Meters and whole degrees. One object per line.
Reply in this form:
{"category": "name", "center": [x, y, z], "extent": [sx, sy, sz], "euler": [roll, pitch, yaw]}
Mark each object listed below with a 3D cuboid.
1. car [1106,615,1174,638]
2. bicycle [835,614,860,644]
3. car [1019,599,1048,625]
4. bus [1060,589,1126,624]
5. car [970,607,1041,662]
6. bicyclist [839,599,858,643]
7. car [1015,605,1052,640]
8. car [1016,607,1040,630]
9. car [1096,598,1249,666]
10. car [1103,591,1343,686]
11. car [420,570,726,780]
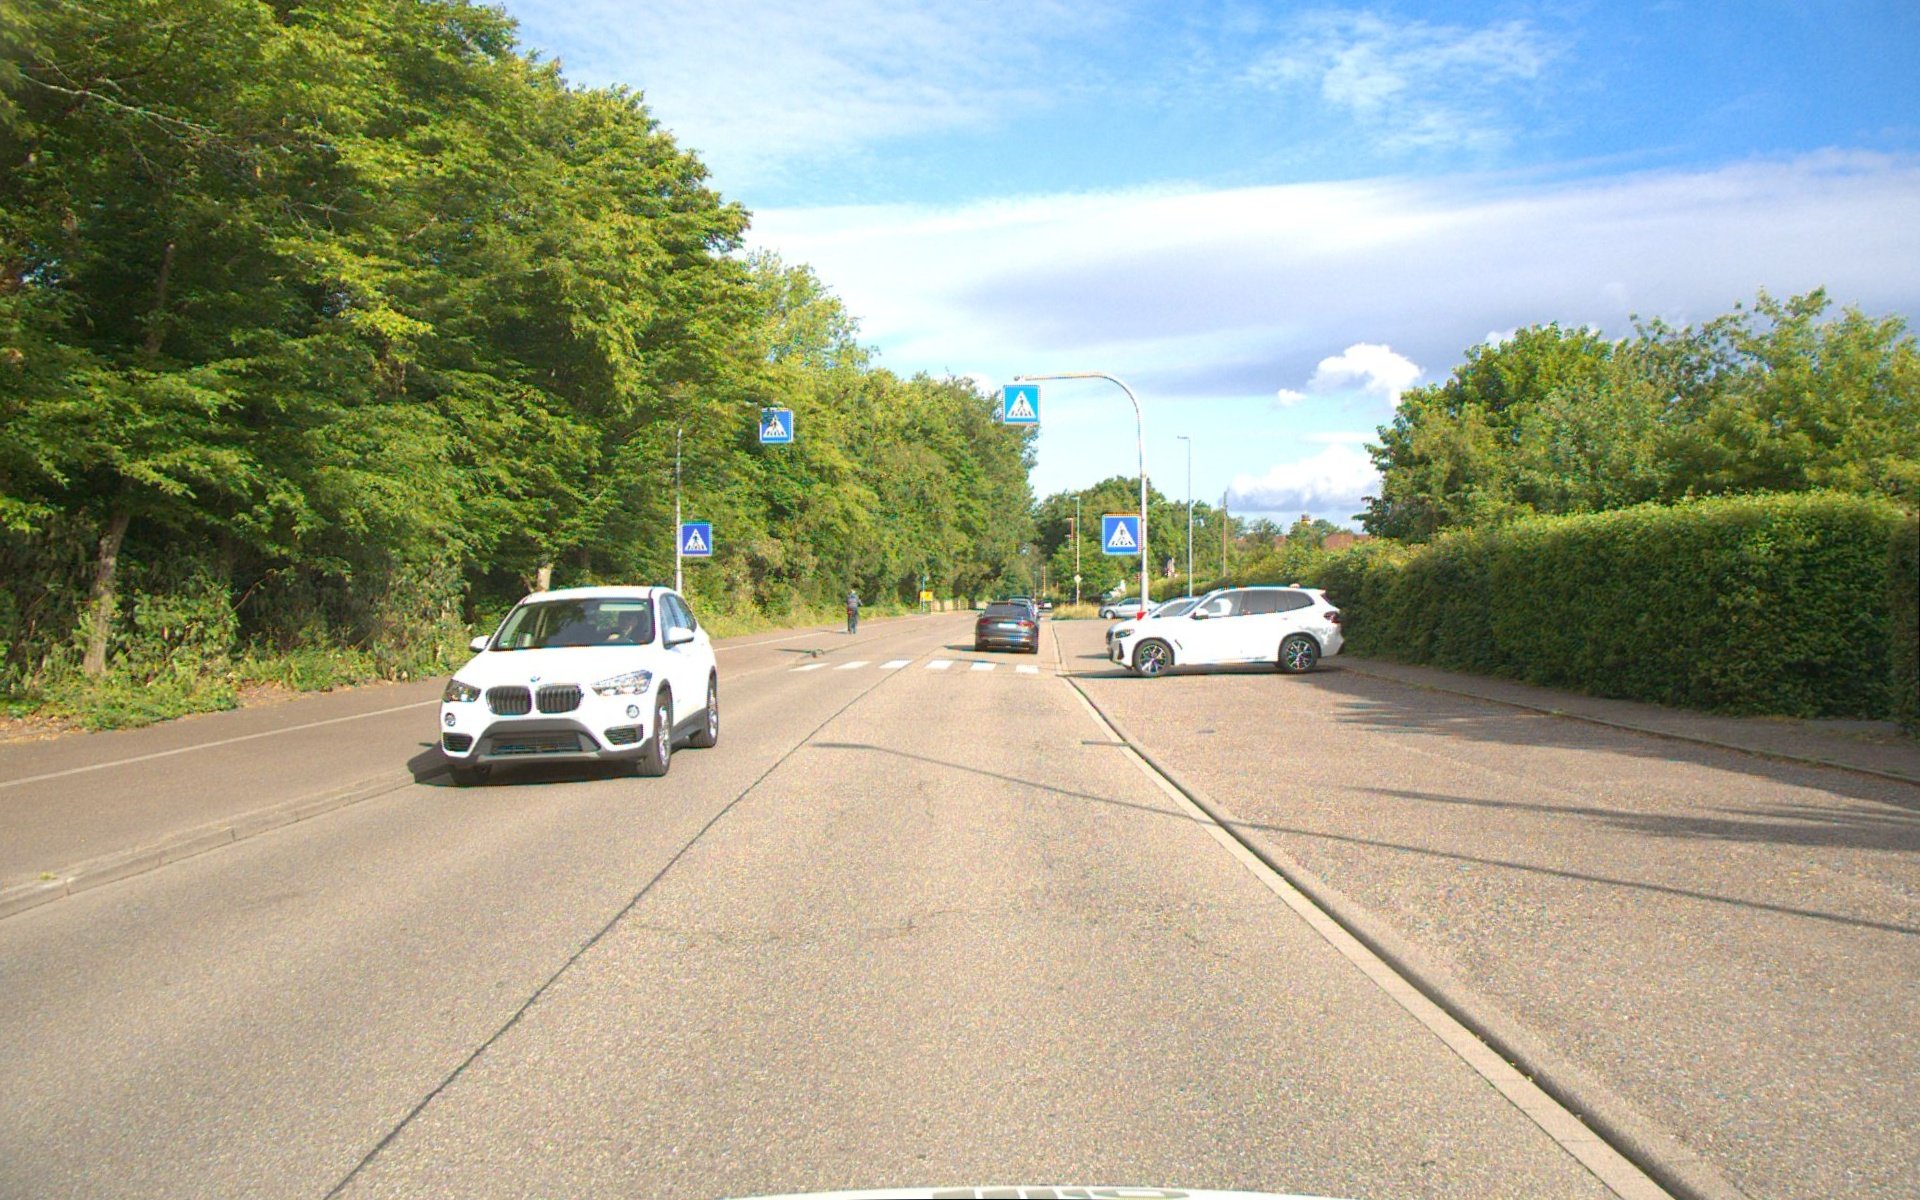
{"category": "car", "center": [11.760, 1.728, 108.005], "extent": [4.269, 1.468, 1.934], "euler": [-1, -1, 10]}
{"category": "bicycle", "center": [-4.399, 1.135, 64.860], "extent": [0.648, 1.116, 2.349], "euler": [2, 0, 4]}
{"category": "car", "center": [3.851, 0.590, 86.220], "extent": [1.464, 1.327, 3.263], "euler": [0, 0, 4]}
{"category": "bus", "center": [11.106, 0.526, 138.382], "extent": [5.255, 2.795, 2.068], "euler": [-1, 0, 0]}
{"category": "car", "center": [1.308, 0.969, 47.940], "extent": [1.925, 1.459, 4.336], "euler": [1, 0, 1]}
{"category": "bicyclist", "center": [-4.389, 0.833, 64.995], "extent": [0.596, 1.706, 0.884], "euler": [1, 0, 3]}
{"category": "car", "center": [2.977, 0.897, 67.362], "extent": [1.464, 1.390, 3.263], "euler": [0, 0, 2]}
{"category": "car", "center": [4.396, 1.183, 106.467], "extent": [1.464, 1.390, 3.263], "euler": [0, 0, 3]}
{"category": "car", "center": [5.547, 0.830, 43.520], "extent": [3.778, 1.516, 1.692], "euler": [-3, 1, 1]}
{"category": "car", "center": [5.104, 0.753, 32.588], "extent": [4.492, 1.729, 1.764], "euler": [-1, -1, 3]}
{"category": "car", "center": [-3.324, 0.612, 15.016], "extent": [1.765, 1.613, 4.102], "euler": [-1, -1, 0]}
